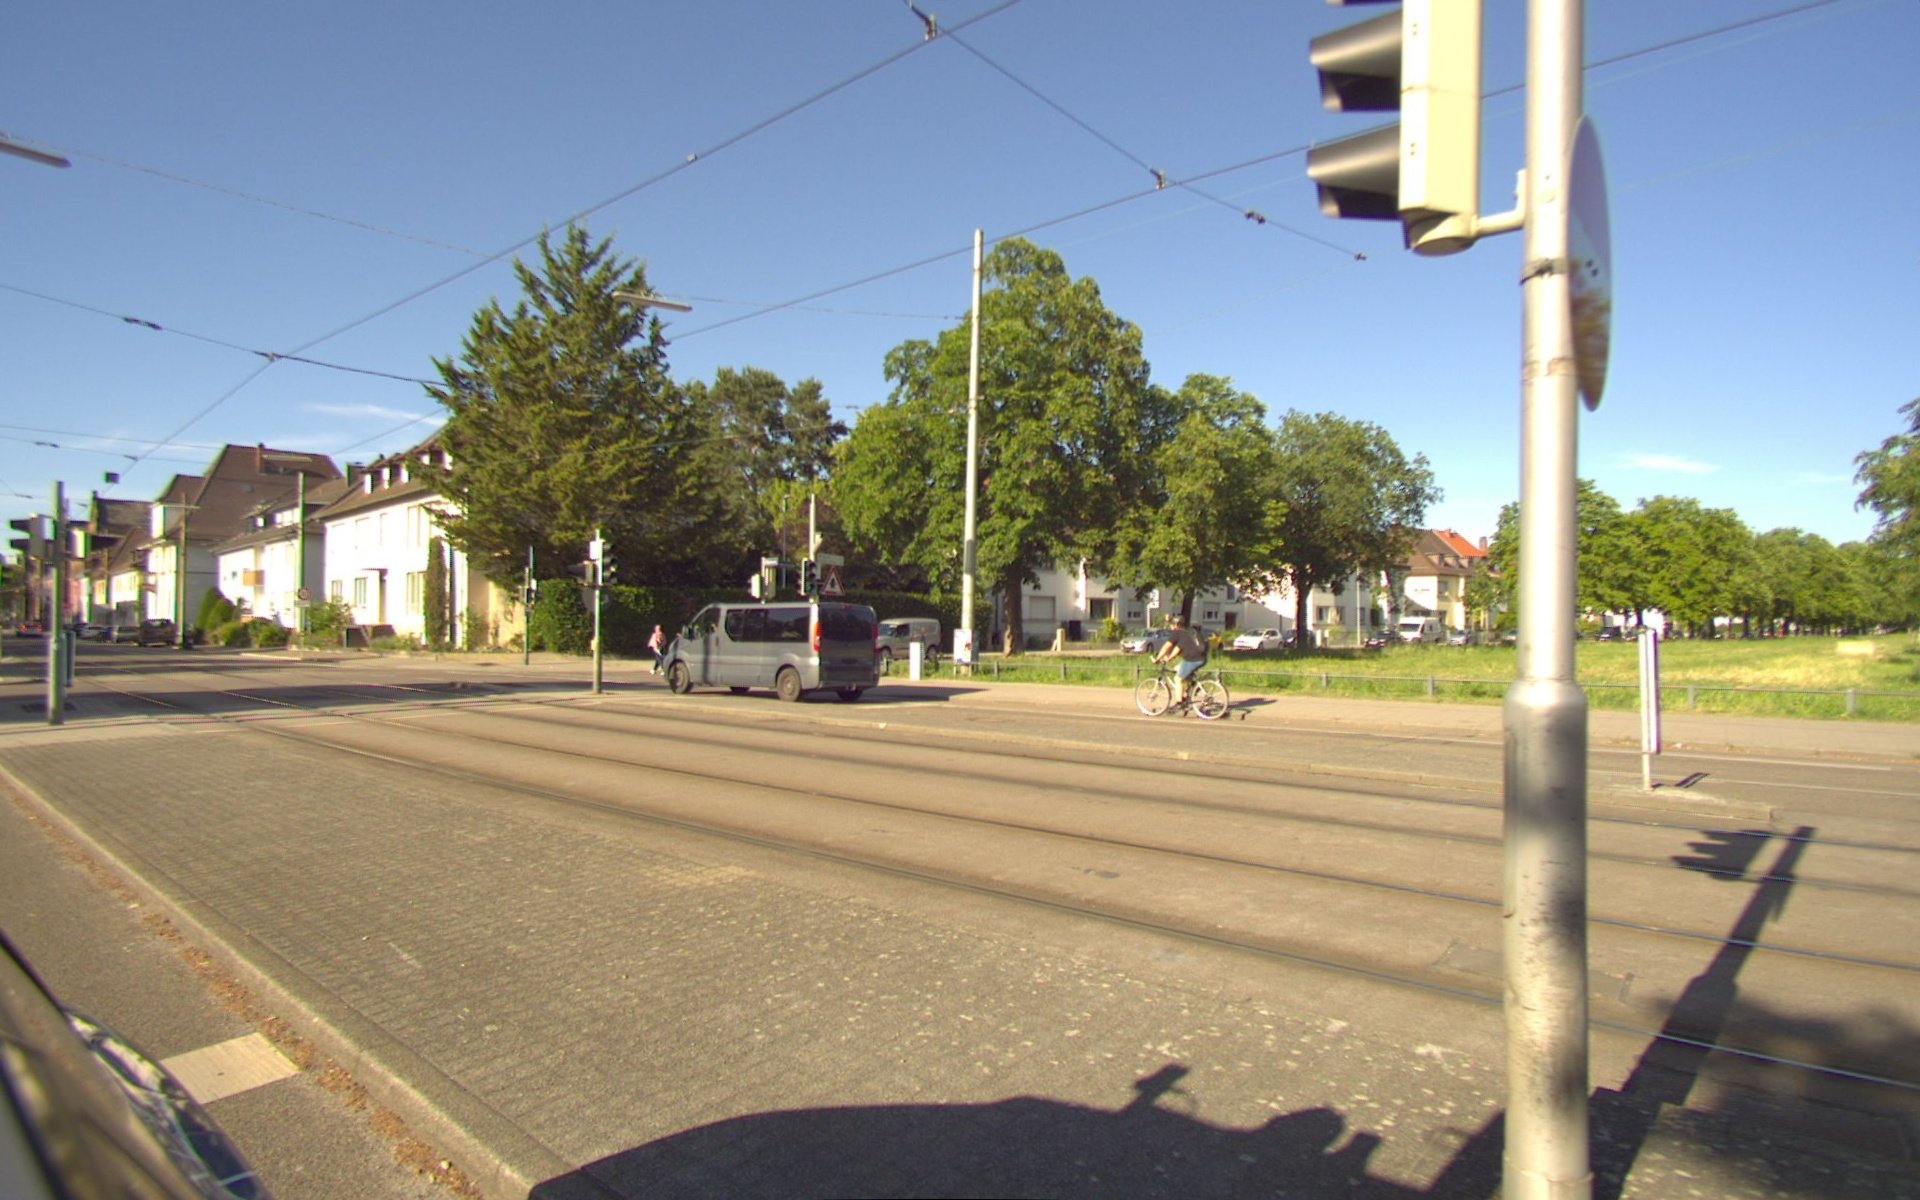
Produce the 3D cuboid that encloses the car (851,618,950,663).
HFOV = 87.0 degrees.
[{"bbox_3d":[-2.614,1.783,45.118,4.251,1.881,1.818,2,-2,-44],"label":"car"}]

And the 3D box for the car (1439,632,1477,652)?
[{"bbox_3d":[44.616,3.770,90.702,3.828,1.756,1.818,2,-3,-44],"label":"car"}]

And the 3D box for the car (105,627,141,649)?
[{"bbox_3d":[-68.532,3.103,82.889,1.897,1.728,4.002,-1,-1,-45],"label":"car"}]

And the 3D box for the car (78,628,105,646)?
[{"bbox_3d":[-83.709,3.575,97.553,1.896,1.576,4.005,-1,-1,-42],"label":"car"}]

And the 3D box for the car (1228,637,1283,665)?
[{"bbox_3d":[19.331,3.292,66.140,3.828,1.756,1.818,2,-3,-44],"label":"car"}]

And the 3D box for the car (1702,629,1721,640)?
[{"bbox_3d":[121.770,5.631,163.996,3.828,1.756,1.818,2,-3,-44],"label":"car"}]

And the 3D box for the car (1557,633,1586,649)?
[{"bbox_3d":[67.784,4.493,112.207,3.828,1.756,1.818,2,-3,-44],"label":"car"}]

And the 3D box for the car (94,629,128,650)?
[{"bbox_3d":[-72.969,3.385,86.953,4.001,1.728,1.897,-2,-1,45],"label":"car"}]

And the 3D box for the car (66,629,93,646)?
[{"bbox_3d":[-94.092,3.992,108.102,1.897,1.728,4.003,-2,-1,-44],"label":"car"}]

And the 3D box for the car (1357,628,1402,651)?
[{"bbox_3d":[32.677,3.055,78.744,3.828,1.756,1.818,2,-3,-44],"label":"car"}]

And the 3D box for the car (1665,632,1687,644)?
[{"bbox_3d":[102.679,5.409,145.117,3.828,1.756,1.818,2,-3,-44],"label":"car"}]

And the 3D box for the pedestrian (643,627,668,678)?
[{"bbox_3d":[-9.668,1.655,32.161,0.614,1.568,0.679,-2,-1,-4],"label":"pedestrian"}]

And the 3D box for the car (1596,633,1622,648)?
[{"bbox_3d":[78.614,4.922,122.625,3.828,1.756,1.818,2,-3,-44],"label":"car"}]

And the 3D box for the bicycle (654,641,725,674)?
[{"bbox_3d":[-9.477,1.994,35.498,2.250,1.126,0.932,1,-2,-38],"label":"bicycle"}]

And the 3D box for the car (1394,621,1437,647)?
[{"bbox_3d":[37.365,2.786,82.938,4.121,2.110,1.818,2,-3,-44],"label":"car"}]

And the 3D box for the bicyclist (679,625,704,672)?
[{"bbox_3d":[-9.420,1.701,35.519,0.551,1.635,0.900,2,-3,-38],"label":"bicyclist"}]

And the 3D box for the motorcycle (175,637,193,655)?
[{"bbox_3d":[-47.444,2.803,61.866,0.597,1.054,2.439,-1,-1,-44],"label":"motorcycle"}]

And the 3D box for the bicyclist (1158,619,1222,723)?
[{"bbox_3d":[3.938,1.204,17.365,0.901,1.724,0.580,-2,-4,41],"label":"bicyclist"}]

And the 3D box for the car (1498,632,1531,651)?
[{"bbox_3d":[54.780,4.093,99.947,3.828,1.756,1.818,2,-3,-44],"label":"car"}]

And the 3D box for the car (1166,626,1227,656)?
[{"bbox_3d":[14.299,2.465,61.083,3.828,1.756,1.818,2,-2,-44],"label":"car"}]

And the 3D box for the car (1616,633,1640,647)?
[{"bbox_3d":[86.317,5.120,130.716,3.828,1.756,1.818,2,-3,-44],"label":"car"}]

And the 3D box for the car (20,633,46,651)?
[{"bbox_3d":[-95.786,4.326,104.625,1.896,1.728,4.005,-1,-1,-42],"label":"car"}]

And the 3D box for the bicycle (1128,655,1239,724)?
[{"bbox_3d":[3.828,1.513,17.455,1.826,1.122,0.580,-2,-4,42],"label":"bicycle"}]

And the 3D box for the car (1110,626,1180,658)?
[{"bbox_3d":[10.573,2.388,57.755,4.138,1.756,1.818,2,-3,-44],"label":"car"}]

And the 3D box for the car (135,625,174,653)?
[{"bbox_3d":[-57.983,2.784,72.813,1.896,1.915,4.004,-1,-1,-43],"label":"car"}]

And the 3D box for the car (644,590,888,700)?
[{"bbox_3d":[-4.124,0.987,21.084,5.241,2.029,2.001,-3,-5,37],"label":"car"}]
